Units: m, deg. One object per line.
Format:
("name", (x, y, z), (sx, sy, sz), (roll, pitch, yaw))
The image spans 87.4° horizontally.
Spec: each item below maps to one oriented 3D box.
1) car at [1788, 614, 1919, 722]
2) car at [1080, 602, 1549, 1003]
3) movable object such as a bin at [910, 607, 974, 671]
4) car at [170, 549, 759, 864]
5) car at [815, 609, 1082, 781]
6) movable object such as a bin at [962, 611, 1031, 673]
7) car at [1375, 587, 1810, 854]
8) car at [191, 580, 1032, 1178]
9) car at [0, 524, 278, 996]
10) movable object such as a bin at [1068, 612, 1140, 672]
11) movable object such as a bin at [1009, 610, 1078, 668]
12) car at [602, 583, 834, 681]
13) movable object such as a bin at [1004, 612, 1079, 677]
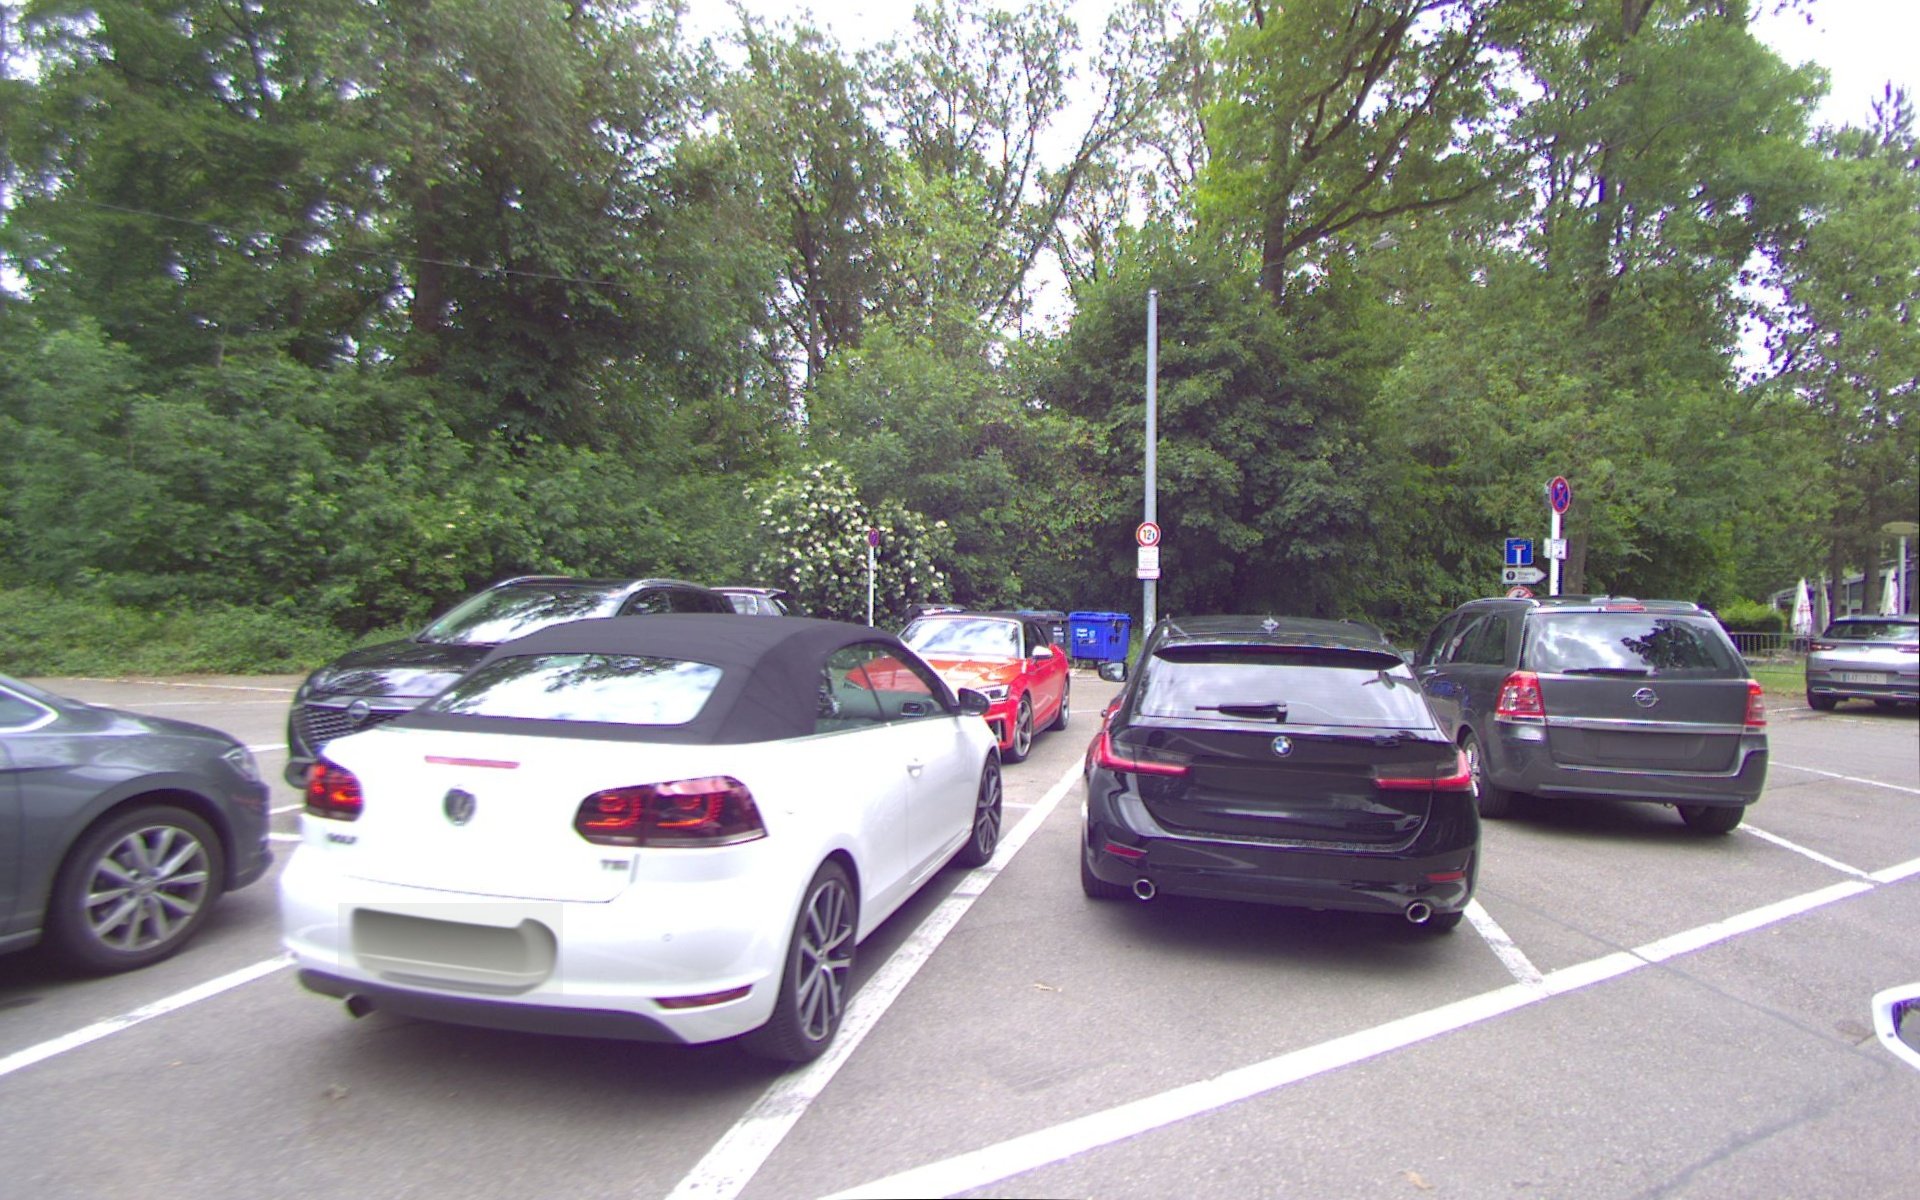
("car", (15.865, 1.062, 16.748), (3.951, 1.606, 1.885), (1, 0, -29))
("car", (1.825, 0.781, 6.032), (1.724, 1.462, 4.281), (1, 0, 13))
("movable object such as a bin", (-0.439, 0.901, 23.553), (1.116, 1.444, 1.119), (1, -1, -27))
("car", (-3.223, 0.589, 7.579), (1.860, 1.685, 4.002), (1, 0, 13))
("car", (0.131, 0.835, 10.753), (1.733, 1.412, 4.394), (1, -1, 15))
("movable object such as a bin", (0.816, 0.926, 22.488), (1.107, 1.332, 1.182), (1, -1, 30))
("car", (4.893, 0.772, 8.577), (1.792, 1.630, 4.390), (1, 0, 13))
("car", (-0.905, 0.710, 4.575), (1.737, 1.462, 3.848), (1, 0, 15))
("car", (-4.374, 0.531, 2.717), (1.810, 1.608, 3.979), (1, 0, 14))
("movable object such as a bin", (3.399, 0.971, 23.740), (1.138, 1.342, 1.241), (1, -1, -42))
("movable object such as a bin", (1.997, 0.932, 24.166), (1.227, 1.337, 1.116), (1, -1, -35))
("car", (-4.664, 0.573, 19.505), (3.990, 1.707, 1.785), (1, 0, 16))
("movable object such as a bin", (1.786, 0.947, 21.815), (1.152, 1.324, 1.311), (1, -1, 30))
